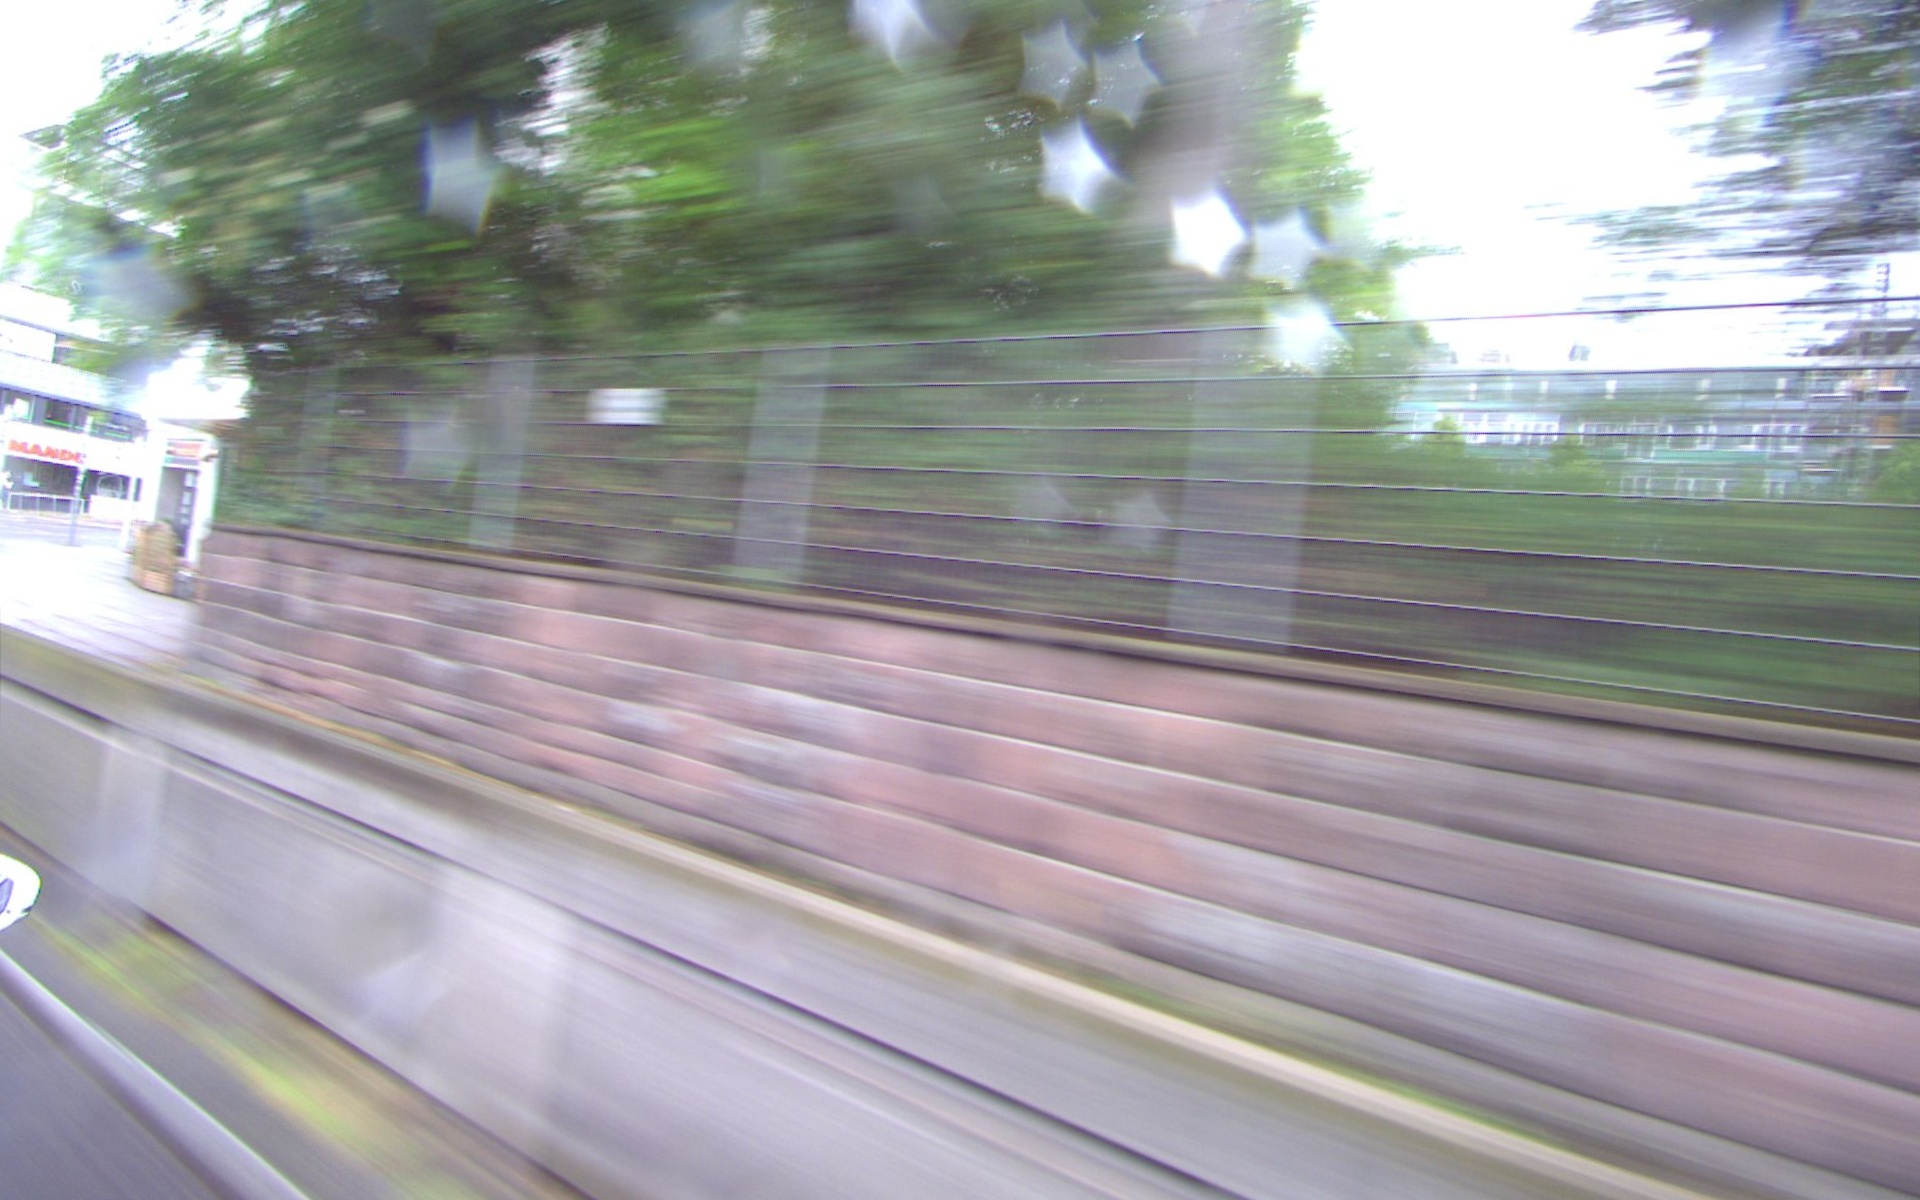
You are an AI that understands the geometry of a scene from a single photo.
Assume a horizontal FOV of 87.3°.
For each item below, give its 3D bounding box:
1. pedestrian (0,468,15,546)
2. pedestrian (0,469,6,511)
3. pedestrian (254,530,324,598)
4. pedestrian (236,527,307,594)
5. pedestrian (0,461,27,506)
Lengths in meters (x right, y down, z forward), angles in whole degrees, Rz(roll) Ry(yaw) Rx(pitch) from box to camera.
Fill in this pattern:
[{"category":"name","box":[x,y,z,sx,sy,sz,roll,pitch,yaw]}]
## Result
[{"category":"pedestrian","box":[-21.719,-2.114,22.471,0.521,1.733,0.702,7,1,-20]},{"category":"pedestrian","box":[-44.906,-5.145,46.541,0.709,1.937,0.695,7,0,-20]},{"category":"pedestrian","box":[-13.240,-0.707,19.870,0.559,1.206,0.916,7,1,32]},{"category":"pedestrian","box":[-13.832,-0.782,20.219,0.625,1.206,0.930,7,1,32]},{"category":"pedestrian","box":[-44.791,-5.480,47.479,0.709,1.937,0.695,7,0,-20]}]
